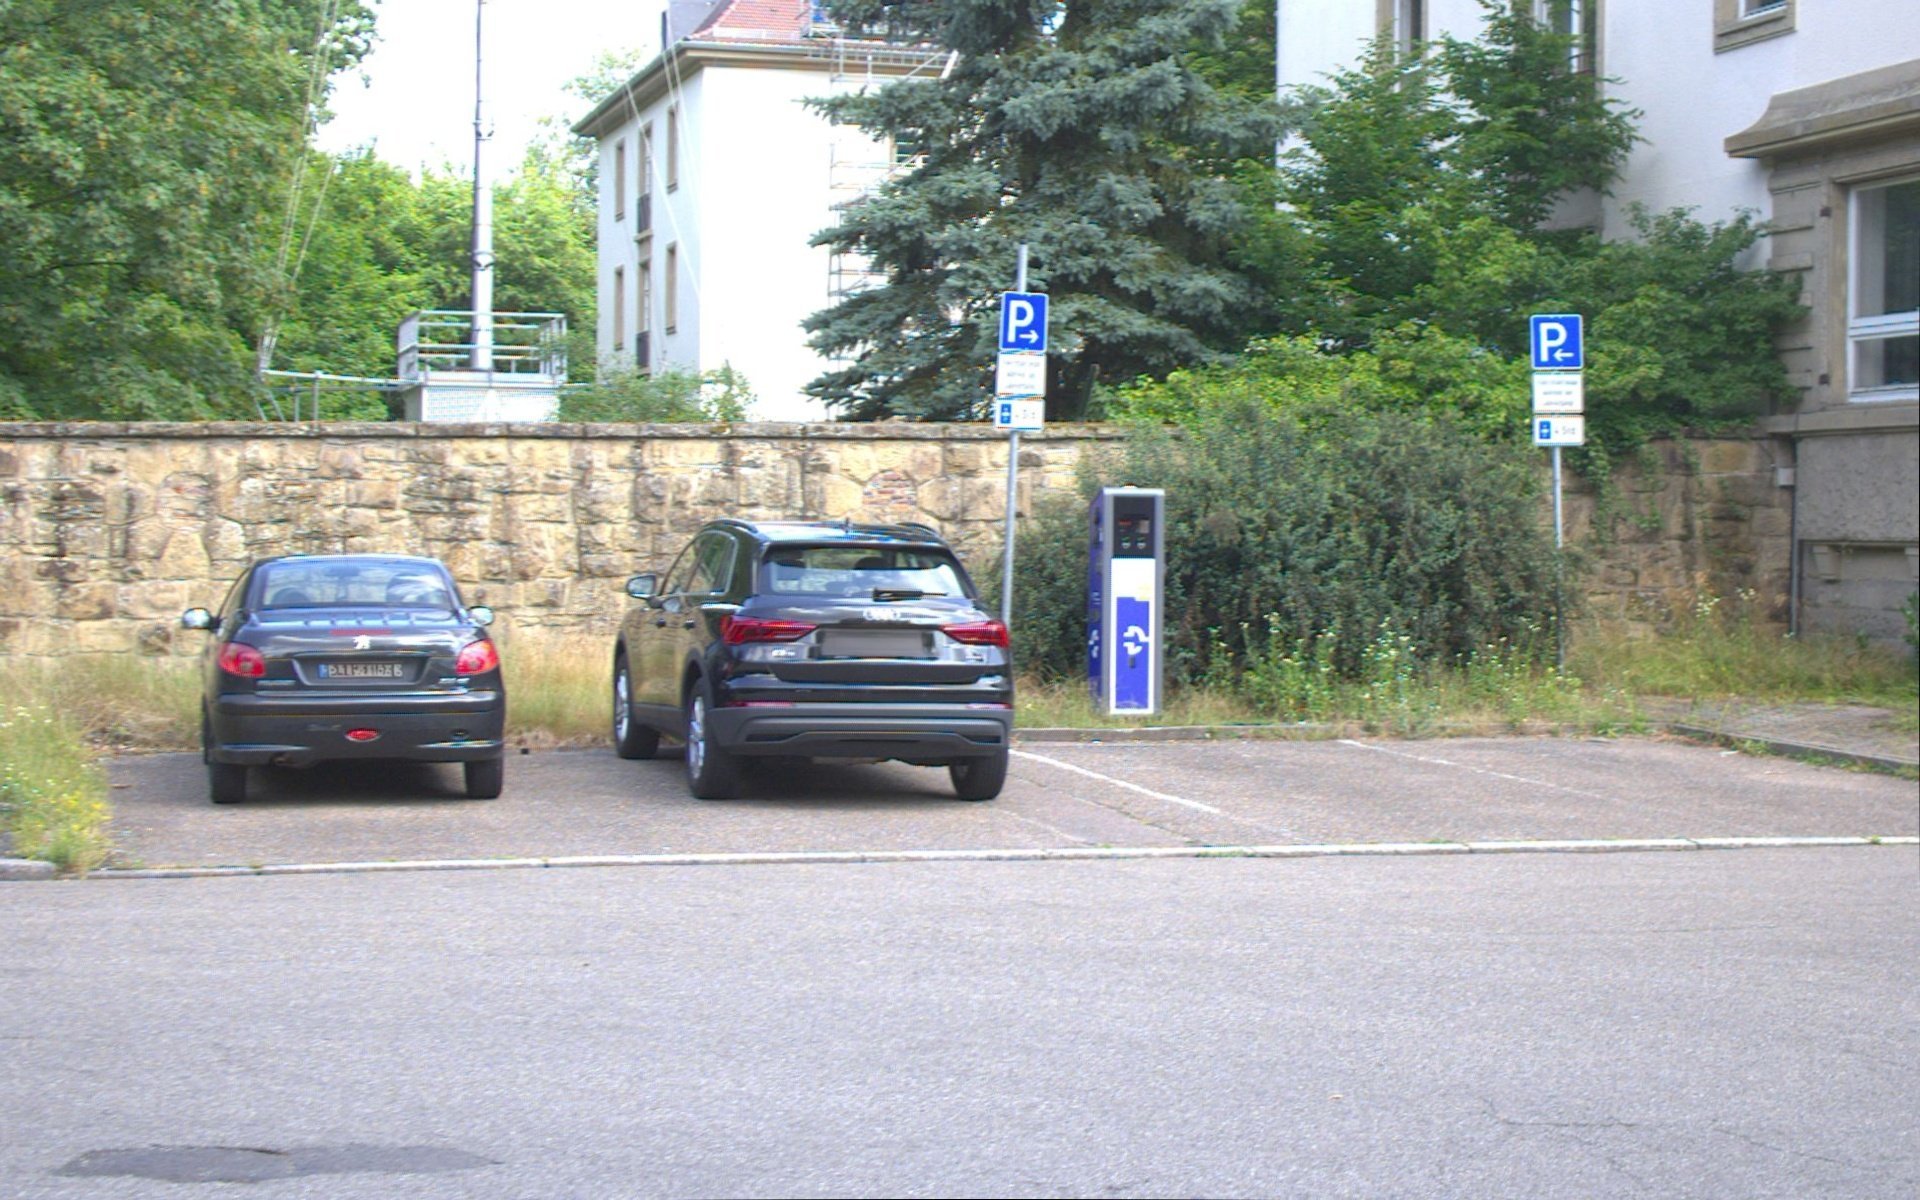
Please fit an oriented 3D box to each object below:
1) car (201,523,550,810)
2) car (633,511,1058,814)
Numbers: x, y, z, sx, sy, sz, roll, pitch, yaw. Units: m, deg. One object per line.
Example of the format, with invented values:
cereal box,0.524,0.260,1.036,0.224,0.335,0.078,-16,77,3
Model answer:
car,-3.571,0.318,20.702,1.873,1.436,4.002,0,3,-11
car,-0.804,0.291,20.770,1.893,1.541,4.002,0,3,-12
